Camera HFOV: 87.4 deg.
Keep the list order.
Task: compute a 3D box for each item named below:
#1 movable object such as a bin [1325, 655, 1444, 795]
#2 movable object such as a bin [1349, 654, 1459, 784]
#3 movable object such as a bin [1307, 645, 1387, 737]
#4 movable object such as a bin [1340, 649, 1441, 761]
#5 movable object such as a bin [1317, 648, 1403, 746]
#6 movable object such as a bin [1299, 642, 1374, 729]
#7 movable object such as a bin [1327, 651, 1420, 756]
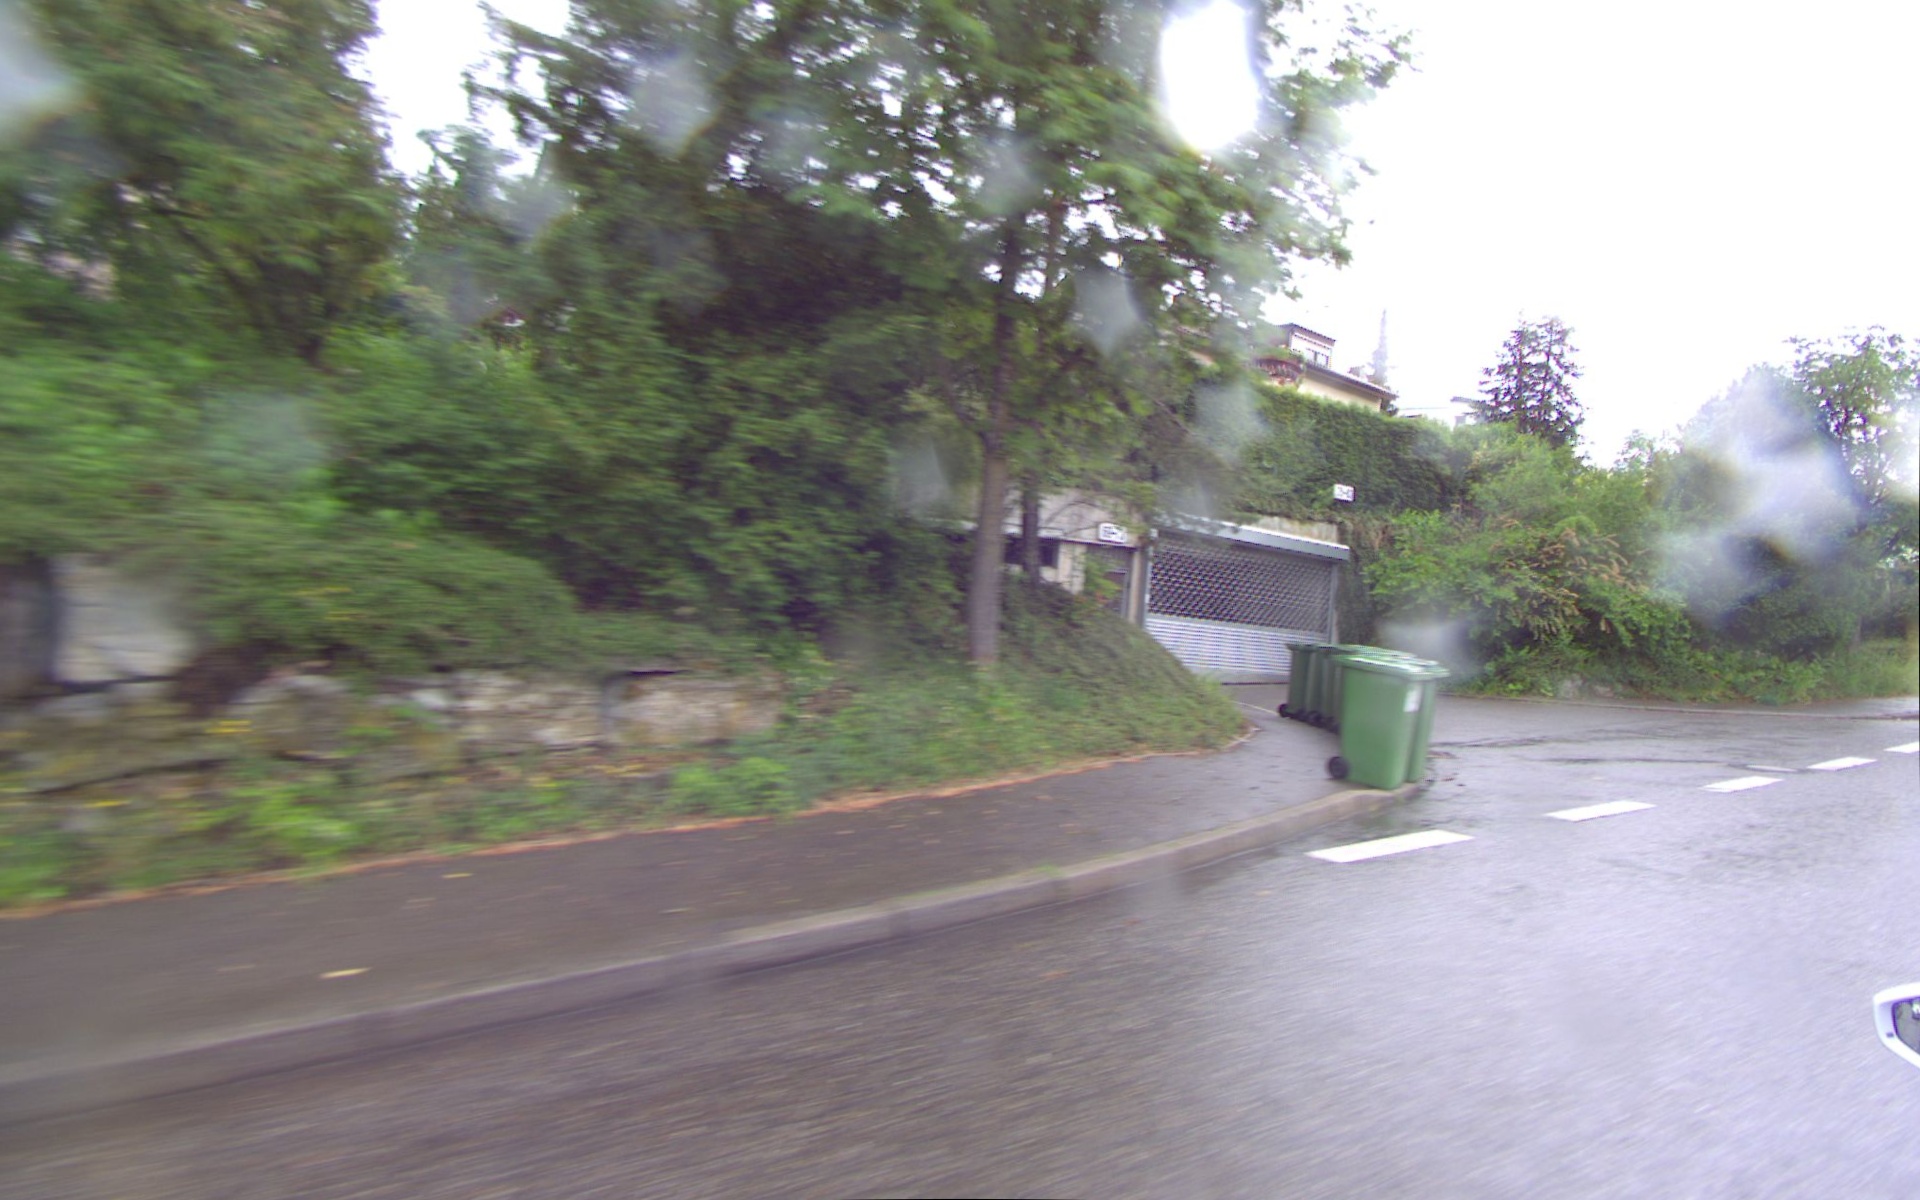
[{"bbox_3d":[3.642,1.036,8.611,0.767,1.041,0.718,4,1,33],"label":"movable object such as a bin"},{"bbox_3d":[4.077,1.059,9.210,0.767,1.041,0.718,4,1,33],"label":"movable object such as a bin"},{"bbox_3d":[4.911,1.136,12.790,0.764,1.041,0.720,4,1,10],"label":"movable object such as a bin"},{"bbox_3d":[4.521,1.081,10.593,0.764,1.041,0.720,4,1,10],"label":"movable object such as a bin"},{"bbox_3d":[4.777,1.140,12.053,0.764,1.041,0.720,4,1,10],"label":"movable object such as a bin"},{"bbox_3d":[5.050,1.129,13.509,0.764,1.041,0.720,4,1,10],"label":"movable object such as a bin"},{"bbox_3d":[4.645,1.147,11.330,0.764,1.041,0.720,4,1,10],"label":"movable object such as a bin"}]
